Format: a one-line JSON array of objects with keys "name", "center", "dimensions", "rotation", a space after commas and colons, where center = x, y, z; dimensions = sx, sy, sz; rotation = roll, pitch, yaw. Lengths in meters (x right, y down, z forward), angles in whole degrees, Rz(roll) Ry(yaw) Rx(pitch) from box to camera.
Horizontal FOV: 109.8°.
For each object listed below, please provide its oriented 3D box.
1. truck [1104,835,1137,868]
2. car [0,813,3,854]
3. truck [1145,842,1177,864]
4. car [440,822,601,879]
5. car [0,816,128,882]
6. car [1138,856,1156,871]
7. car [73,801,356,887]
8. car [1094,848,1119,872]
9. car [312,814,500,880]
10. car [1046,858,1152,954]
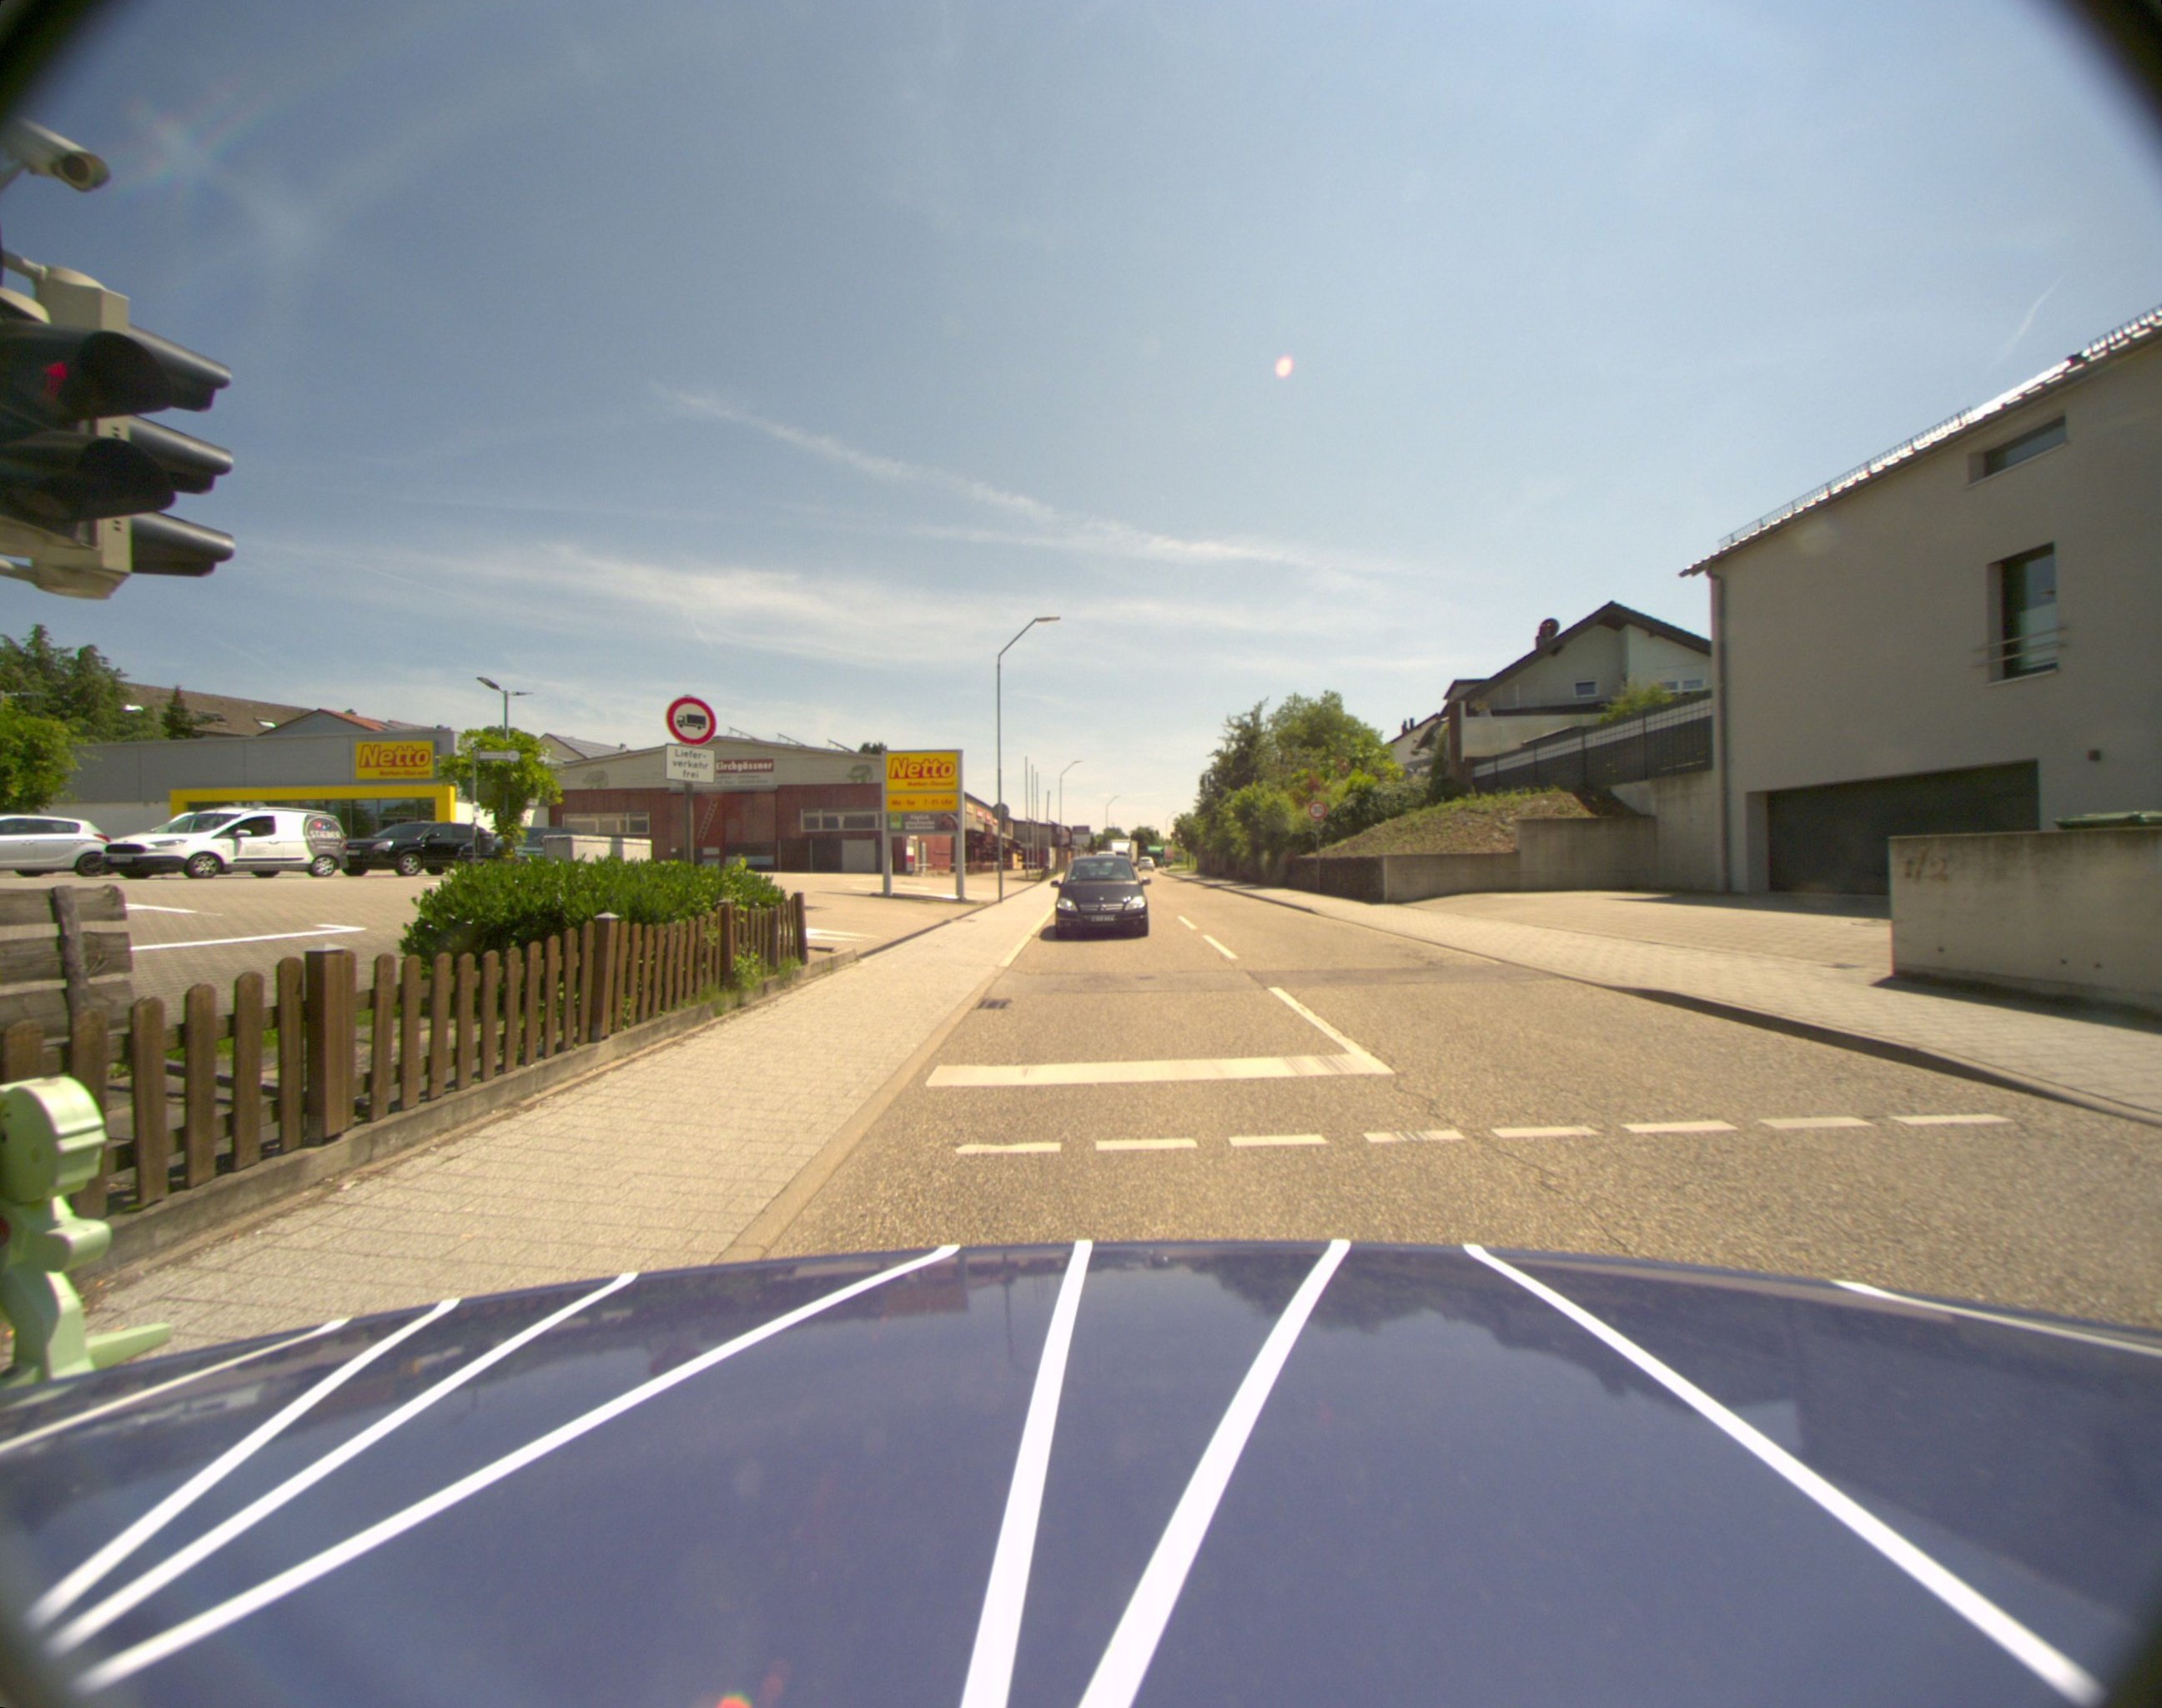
[{"name": "truck", "center": [4.746, -0.274, 90.215], "dimensions": [3.201, 3.578, 8.312], "rotation": [2, 0, 7]}, {"name": "car", "center": [-38.463, -0.740, 24.439], "dimensions": [1.644, 1.405, 4.090], "rotation": [2, 0, 2]}, {"name": "truck", "center": [12.385, -0.064, 117.122], "dimensions": [2.847, 3.214, 8.177], "rotation": [2, 0, 21]}, {"name": "car", "center": [-17.024, -0.064, 23.401], "dimensions": [1.913, 1.586, 4.209], "rotation": [1, -1, -2]}, {"name": "car", "center": [-25.177, -0.139, 17.449], "dimensions": [1.622, 1.500, 3.881], "rotation": [2, 0, 1]}, {"name": "car", "center": [7.086, 1.039, 81.068], "dimensions": [1.826, 1.516, 3.559], "rotation": [-2, 0, 5]}, {"name": "car", "center": [-20.211, -0.211, 18.053], "dimensions": [1.912, 1.737, 4.129], "rotation": [2, 0, 1]}, {"name": "car", "center": [2.246, 0.510, 65.660], "dimensions": [1.867, 1.897, 5.038], "rotation": [-2, 0, 4]}, {"name": "car", "center": [-20.168, -0.182, 22.993], "dimensions": [1.912, 1.737, 4.129], "rotation": [2, 0, 1]}, {"name": "car", "center": [0.383, 0.904, 15.153], "dimensions": [1.764, 1.583, 4.199], "rotation": [-2, 0, 2]}]
